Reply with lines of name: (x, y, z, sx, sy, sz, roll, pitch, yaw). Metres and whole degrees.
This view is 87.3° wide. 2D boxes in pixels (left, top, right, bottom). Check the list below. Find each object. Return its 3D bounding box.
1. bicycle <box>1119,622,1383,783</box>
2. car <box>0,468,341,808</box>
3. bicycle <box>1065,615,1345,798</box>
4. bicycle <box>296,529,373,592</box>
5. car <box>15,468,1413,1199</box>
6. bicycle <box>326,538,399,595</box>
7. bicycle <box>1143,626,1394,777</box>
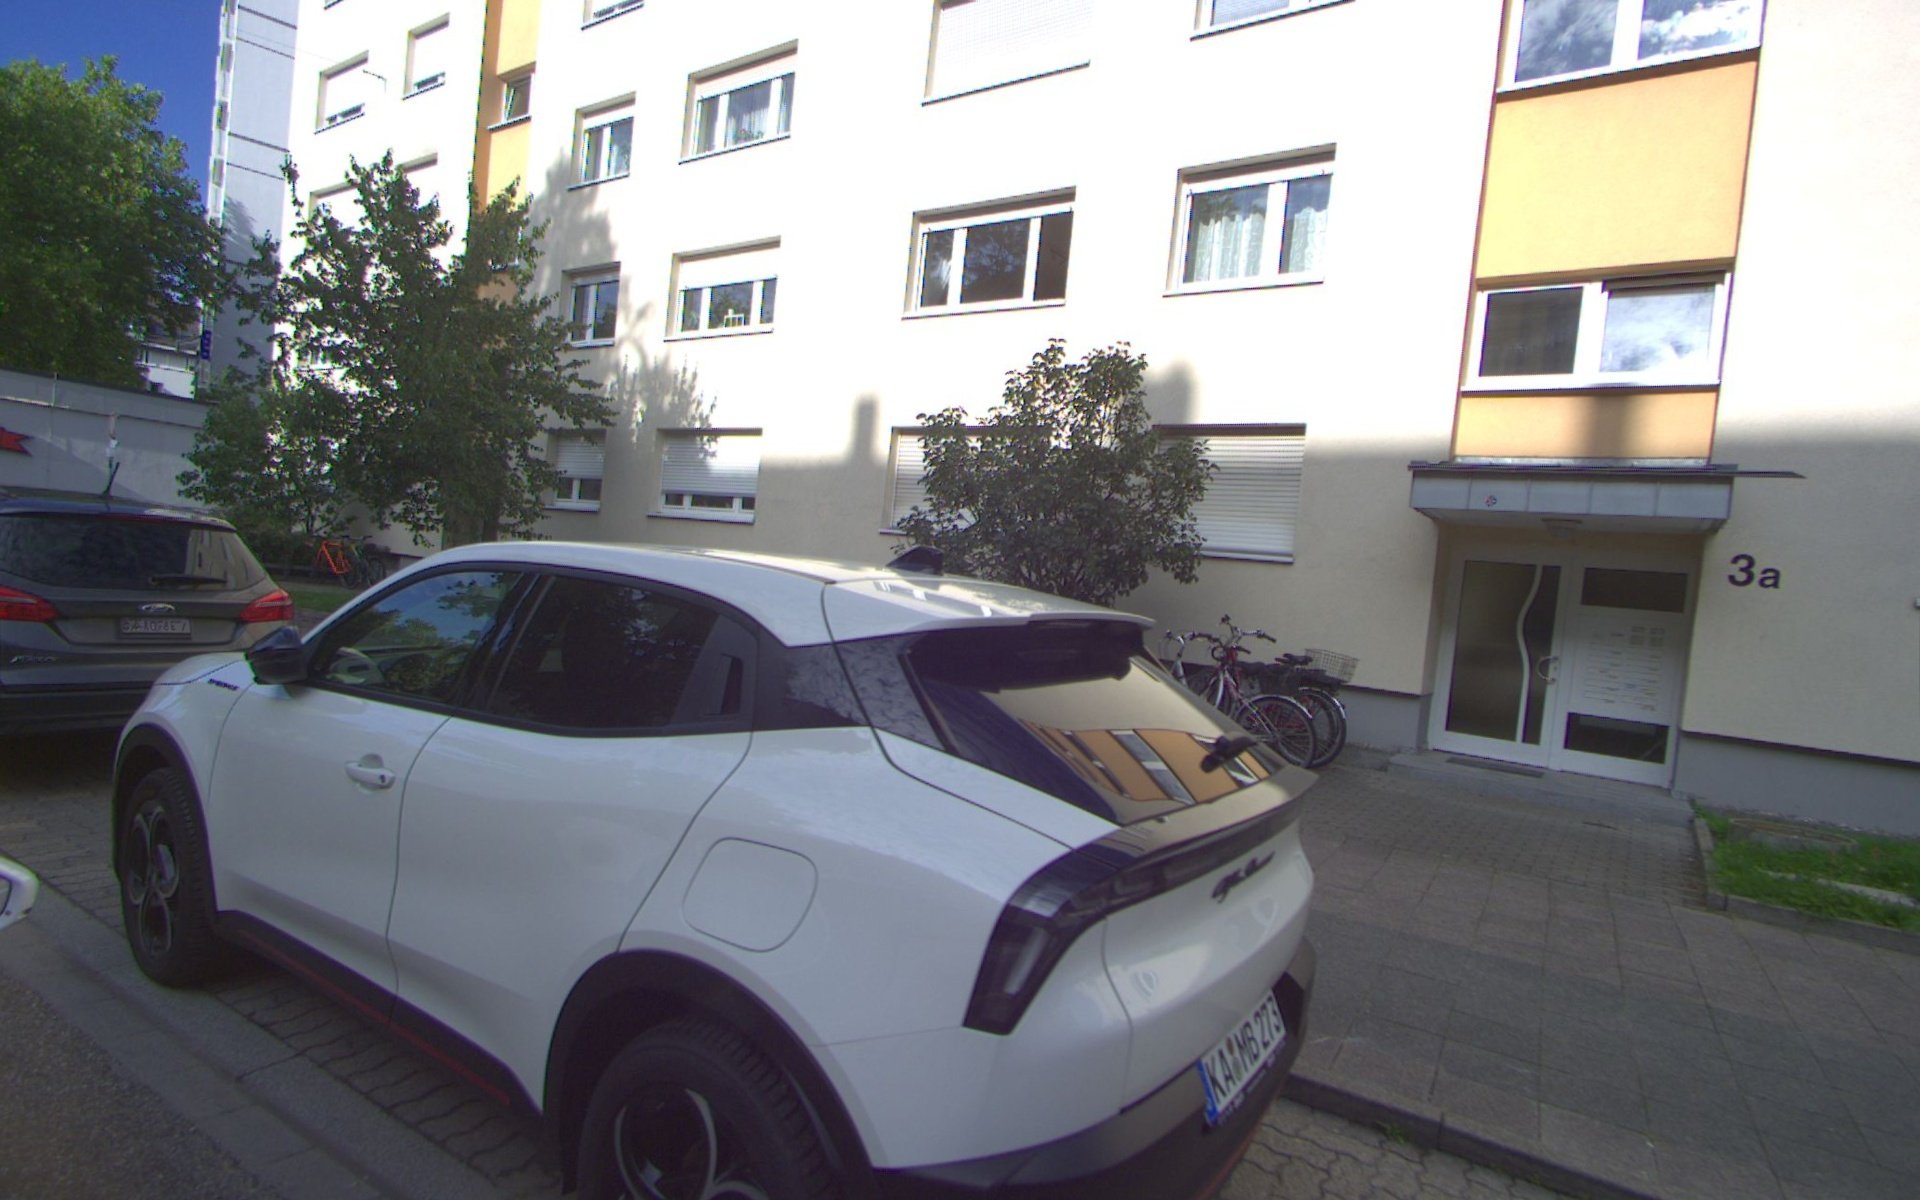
bicycle: (2.639, 0.880, 9.279, 2.172, 1.130, 0.597, 7, 3, 32)
car: (-5.836, -0.003, 6.121, 4.166, 1.548, 1.691, 7, 2, 30)
bicycle: (2.063, 0.851, 8.671, 2.172, 1.204, 0.596, 7, 5, 32)
bicycle: (-12.169, -0.768, 19.552, 1.526, 1.069, 0.522, 7, 1, 29)
car: (-1.068, 0.554, 3.099, 4.168, 1.548, 1.690, 7, 1, 33)
bicycle: (-11.901, -0.667, 20.033, 1.526, 0.976, 0.478, 7, 1, 29)
bicycle: (2.962, 0.934, 9.809, 2.172, 1.130, 0.529, 7, 3, 32)
